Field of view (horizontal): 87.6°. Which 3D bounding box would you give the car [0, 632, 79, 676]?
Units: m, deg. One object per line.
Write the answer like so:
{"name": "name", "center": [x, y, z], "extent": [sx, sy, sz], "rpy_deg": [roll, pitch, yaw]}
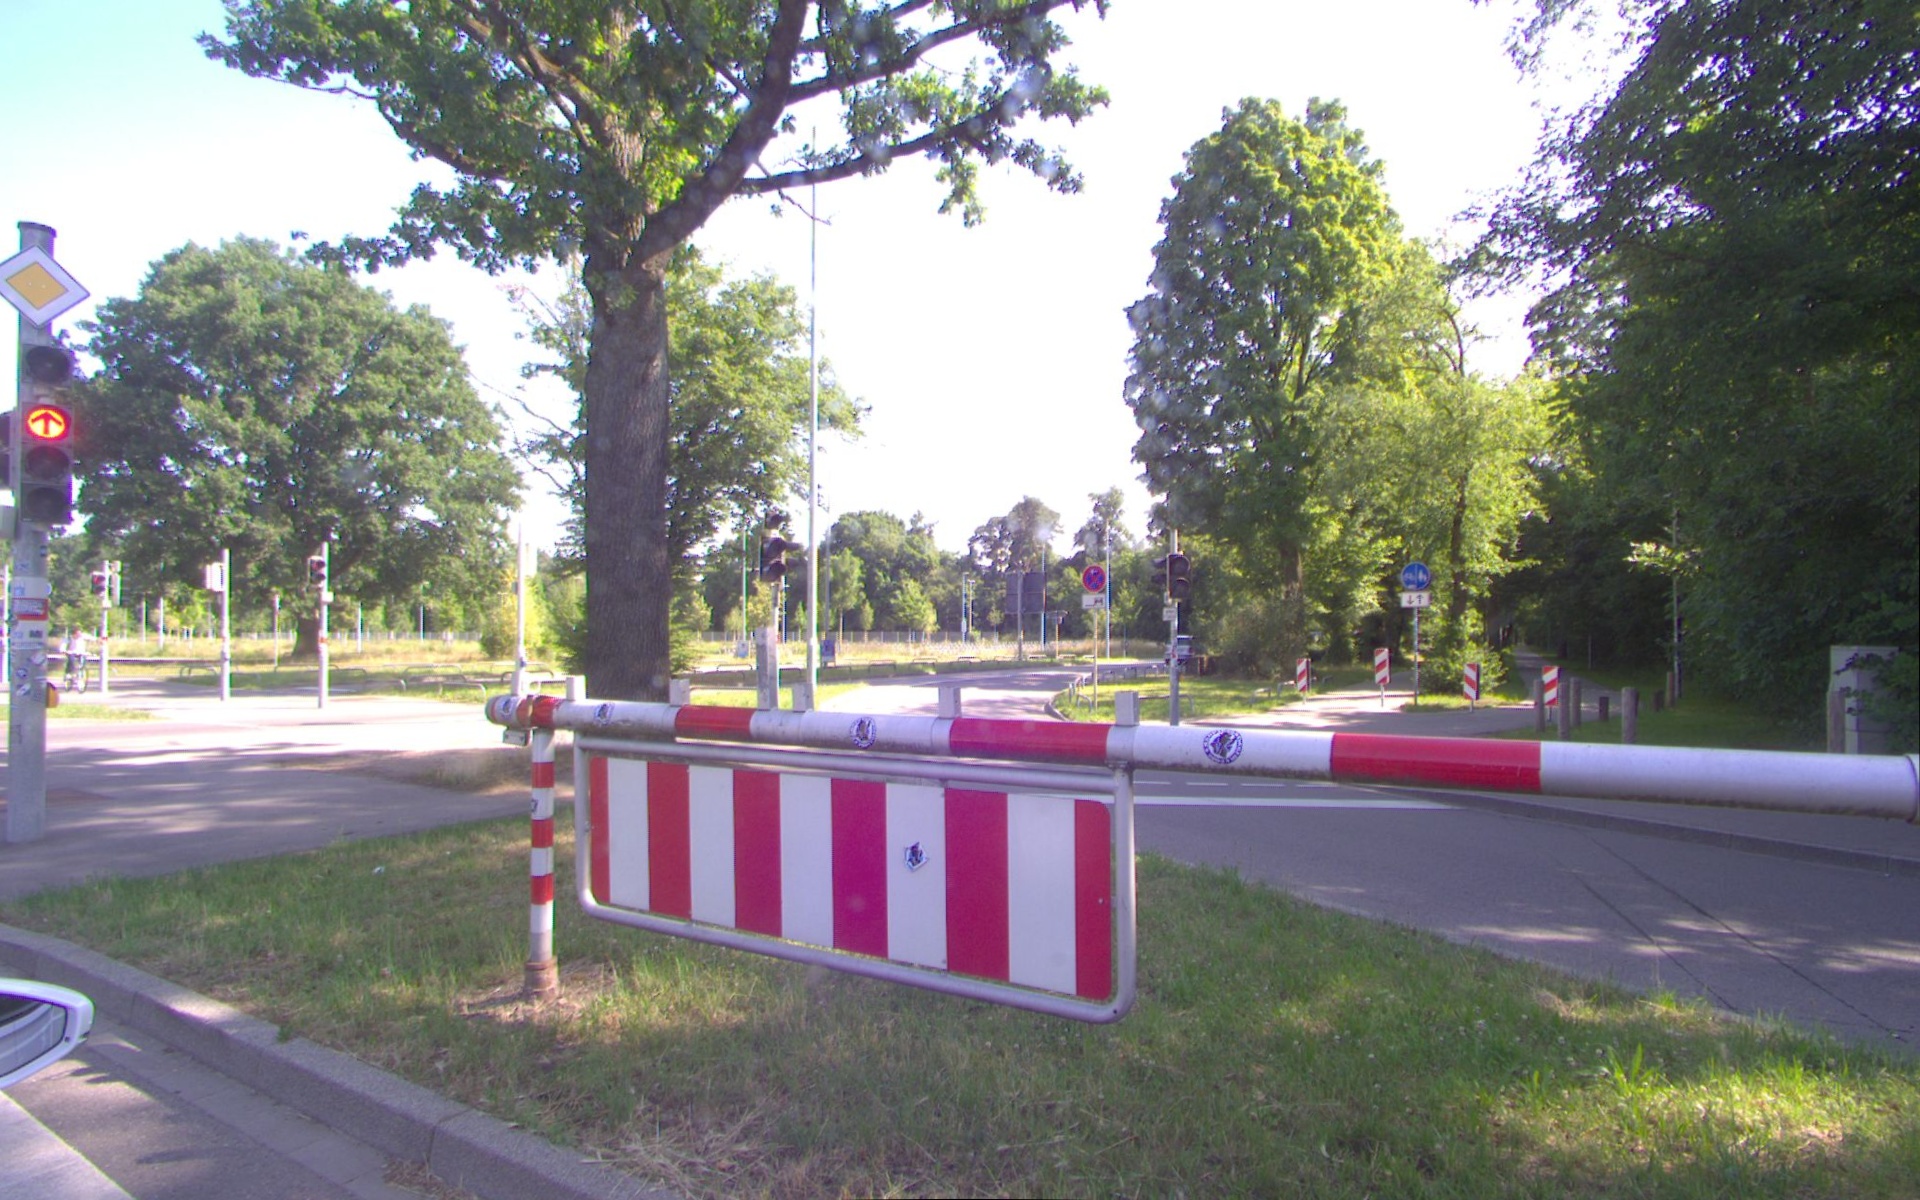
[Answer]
{"name": "car", "center": [-33.059, 1.821, 34.014], "extent": [4.217, 1.438, 1.944], "rpy_deg": [1, -2, -17]}

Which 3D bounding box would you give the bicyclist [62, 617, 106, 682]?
{"name": "bicyclist", "center": [-23.227, 1.300, 26.547], "extent": [1.046, 1.660, 0.721], "rpy_deg": [-1, -2, 41]}

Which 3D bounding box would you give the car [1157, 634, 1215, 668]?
{"name": "car", "center": [12.434, 2.753, 54.944], "extent": [1.828, 1.772, 3.980], "rpy_deg": [0, -2, 33]}

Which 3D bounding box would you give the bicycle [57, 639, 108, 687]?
{"name": "bicycle", "center": [-23.335, 1.652, 26.623], "extent": [2.076, 1.215, 0.721], "rpy_deg": [-1, -2, 41]}
